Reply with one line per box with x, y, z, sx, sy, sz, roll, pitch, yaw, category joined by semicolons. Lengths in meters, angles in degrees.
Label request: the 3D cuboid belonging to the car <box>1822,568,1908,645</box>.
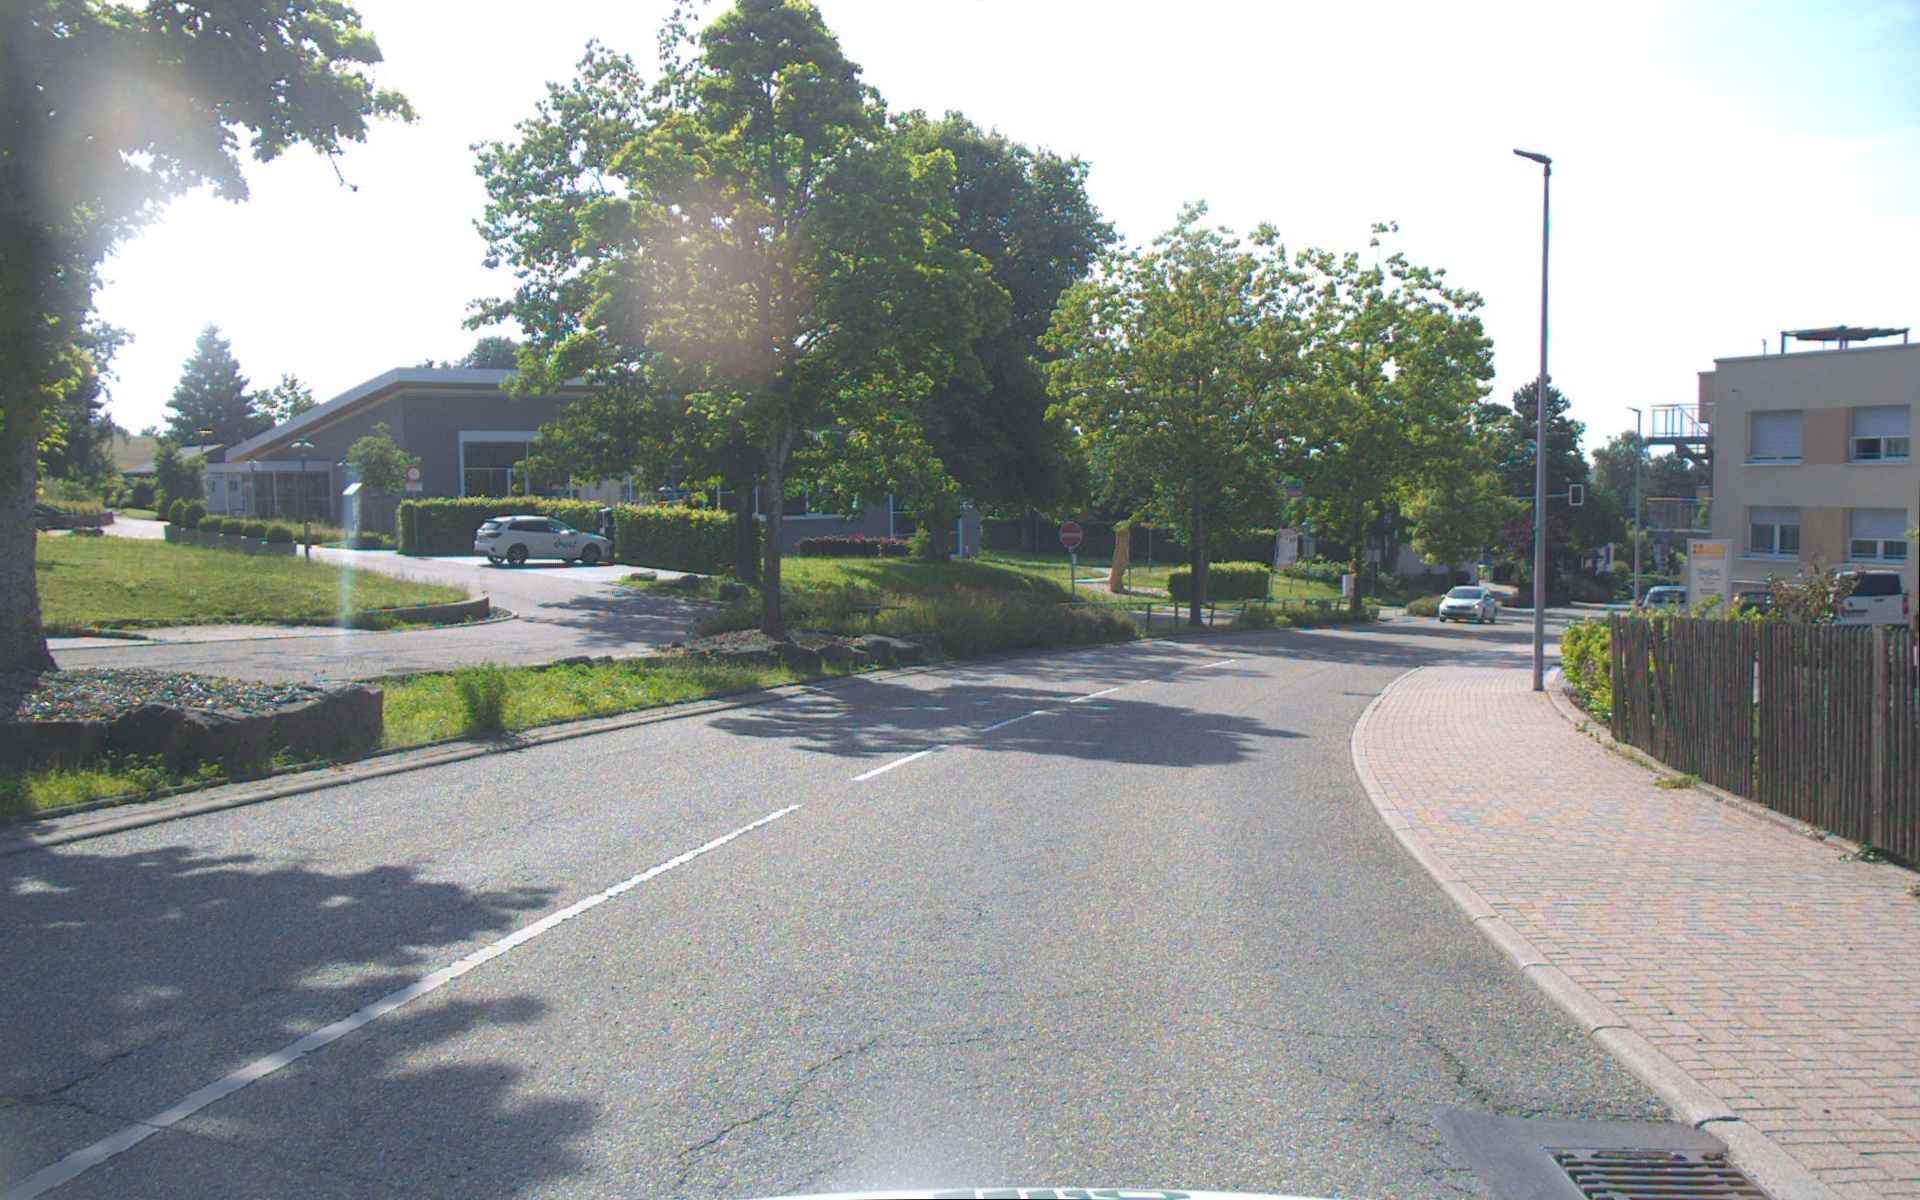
24.615;0.132;45.115;1.768;1.969;4.731;1;1;25;car

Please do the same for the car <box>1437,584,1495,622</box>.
20.777;0.102;67.875;1.695;1.468;4.062;2;2;25;car

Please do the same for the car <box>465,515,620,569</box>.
-13.945;-1.985;55.385;4.685;1.559;1.974;-3;8;-39;car

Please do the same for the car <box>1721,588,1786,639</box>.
23.698;0.372;49.447;1.674;1.452;4.004;1;1;25;car

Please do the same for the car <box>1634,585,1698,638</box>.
21.963;0.312;51.373;1.674;1.562;4.004;1;1;25;car
